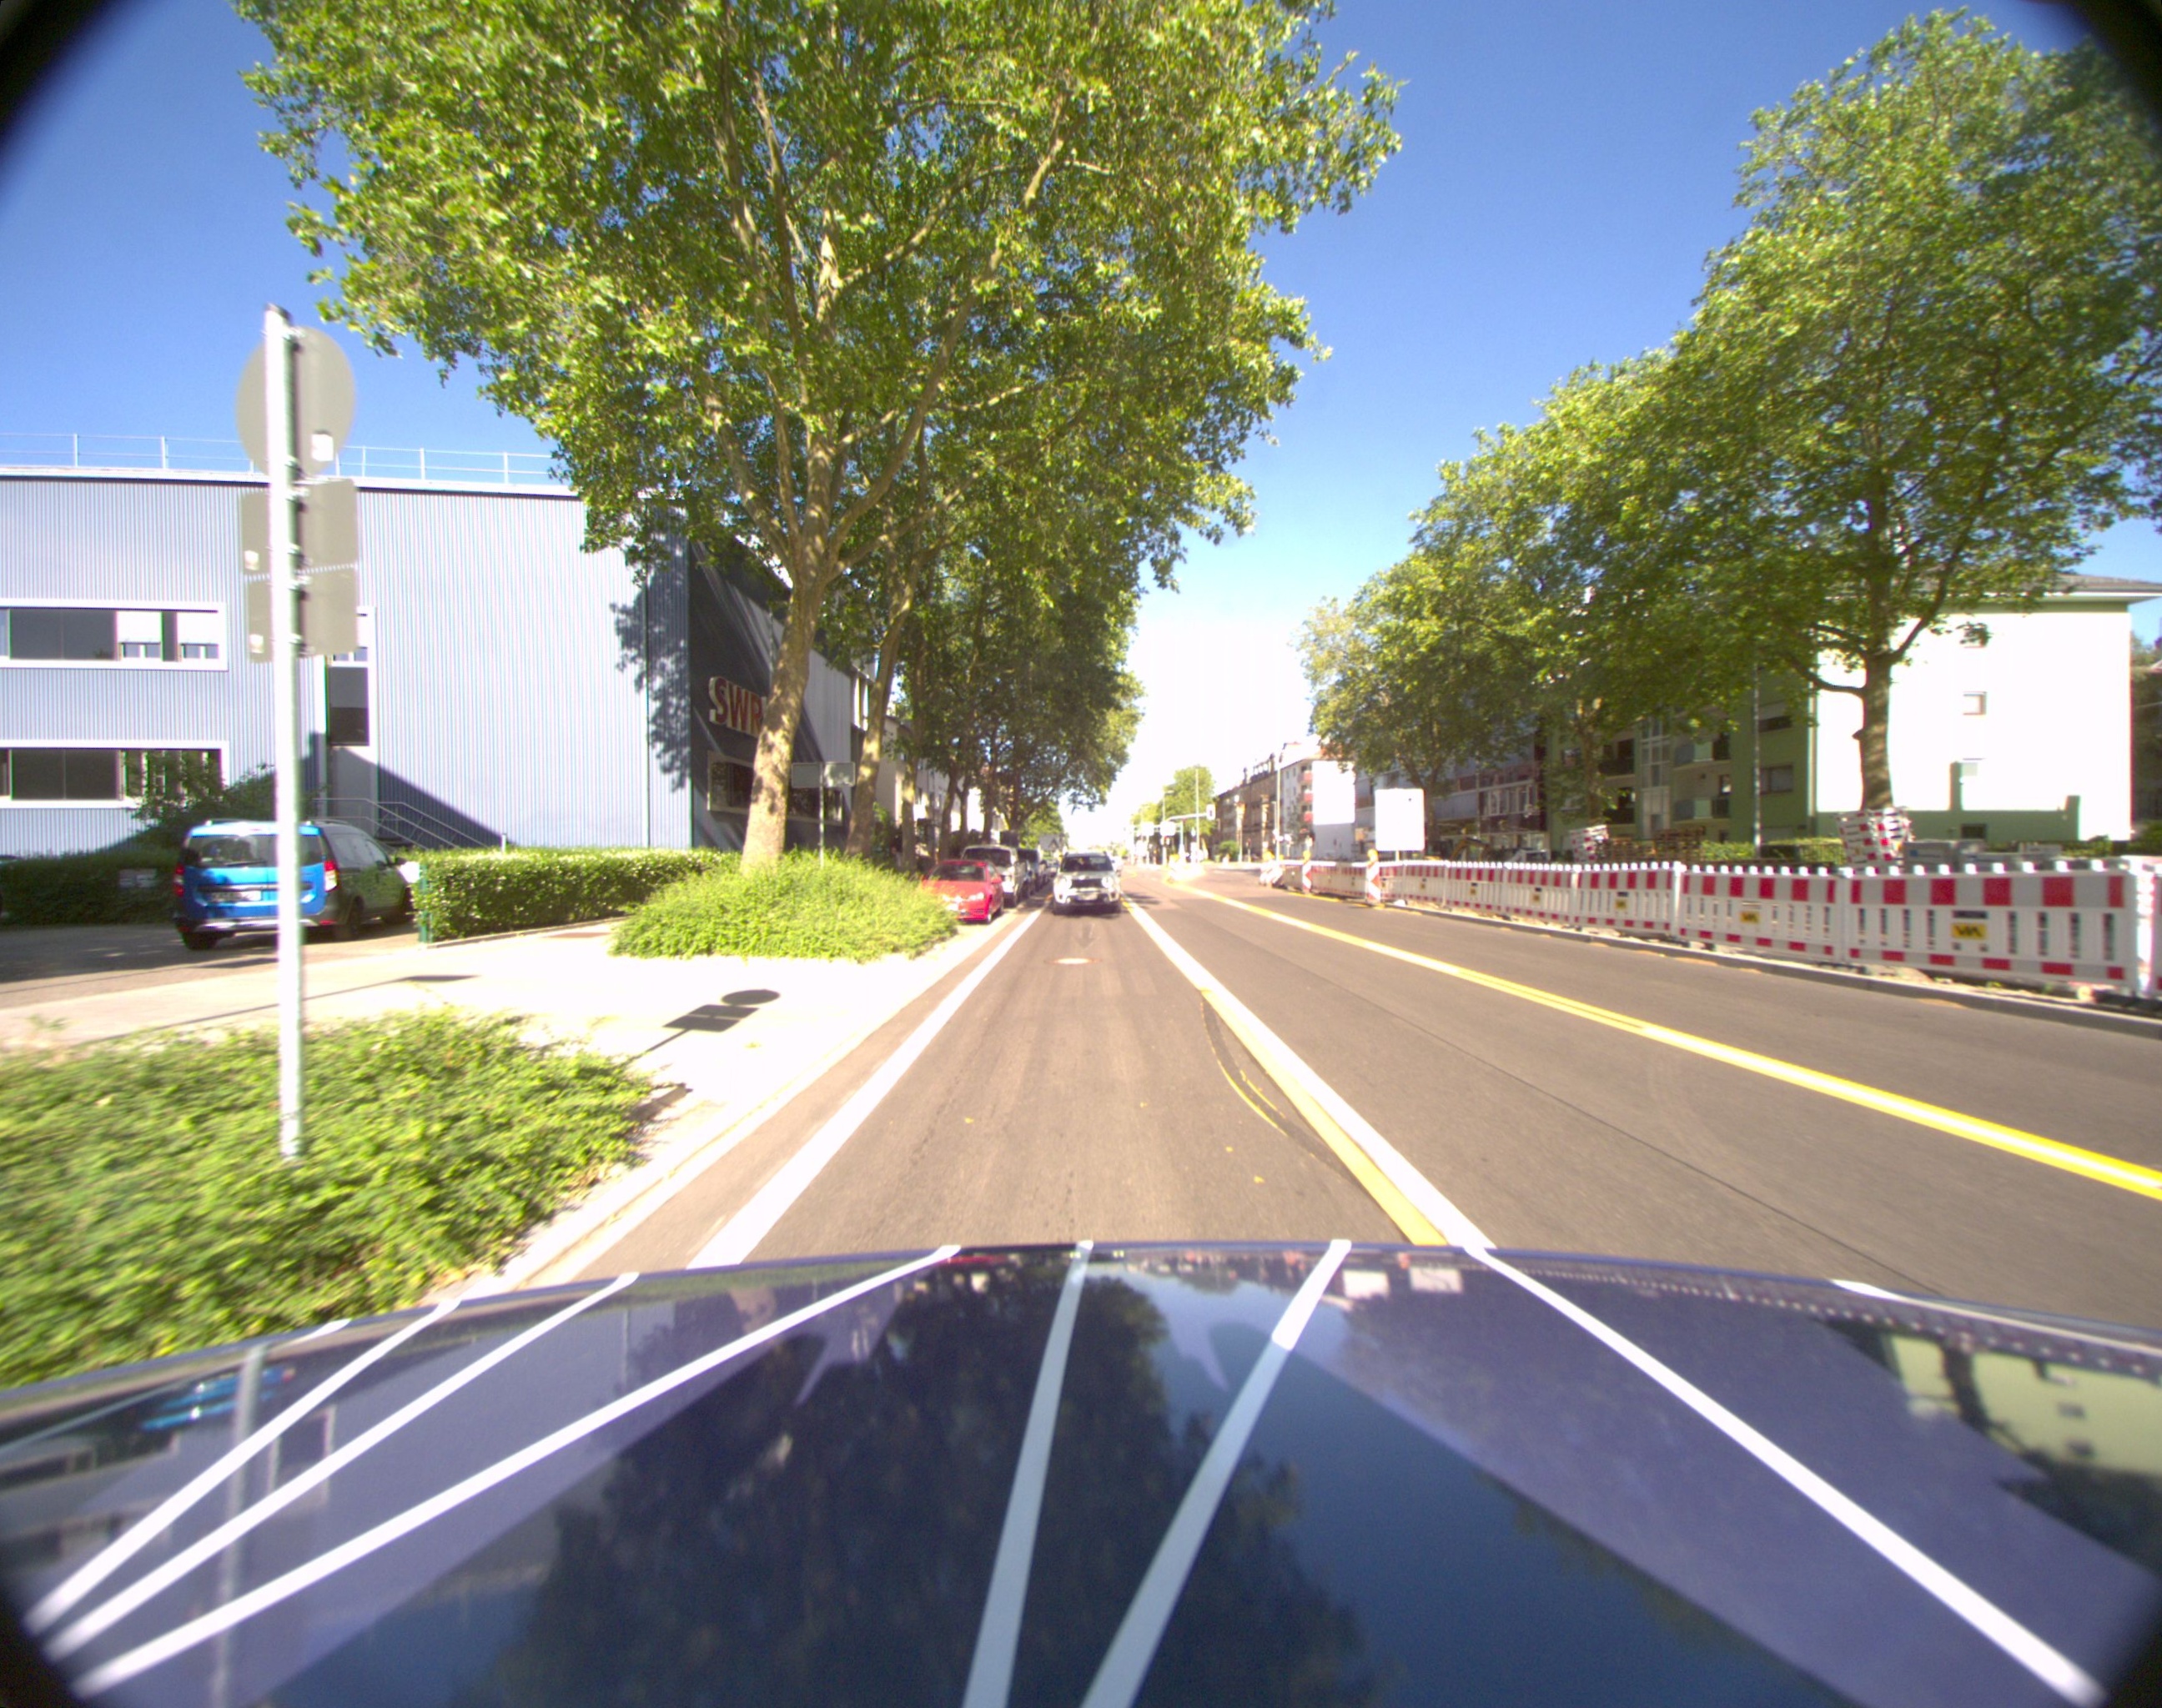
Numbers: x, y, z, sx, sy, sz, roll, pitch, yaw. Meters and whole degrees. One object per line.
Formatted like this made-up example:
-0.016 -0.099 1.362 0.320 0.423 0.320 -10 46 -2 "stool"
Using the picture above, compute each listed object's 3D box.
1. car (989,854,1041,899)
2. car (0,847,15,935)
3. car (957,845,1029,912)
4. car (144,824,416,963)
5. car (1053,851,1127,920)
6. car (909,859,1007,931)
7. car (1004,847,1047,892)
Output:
-2.542 0.833 30.016 1.631 1.625 4.220 0 0 1 "car"
-20.086 0.727 12.286 1.803 1.629 3.990 -2 2 -31 "car"
-2.740 0.714 24.581 1.753 1.954 4.506 0 0 1 "car"
-12.268 0.491 12.014 1.803 1.811 3.990 0 1 -29 "car"
0.253 0.820 21.924 1.868 1.716 4.506 -2 0 1 "car"
-2.866 0.910 18.429 1.674 1.509 3.997 0 0 1 "car"
-2.538 0.665 35.347 1.631 1.997 4.220 0 0 1 "car"
